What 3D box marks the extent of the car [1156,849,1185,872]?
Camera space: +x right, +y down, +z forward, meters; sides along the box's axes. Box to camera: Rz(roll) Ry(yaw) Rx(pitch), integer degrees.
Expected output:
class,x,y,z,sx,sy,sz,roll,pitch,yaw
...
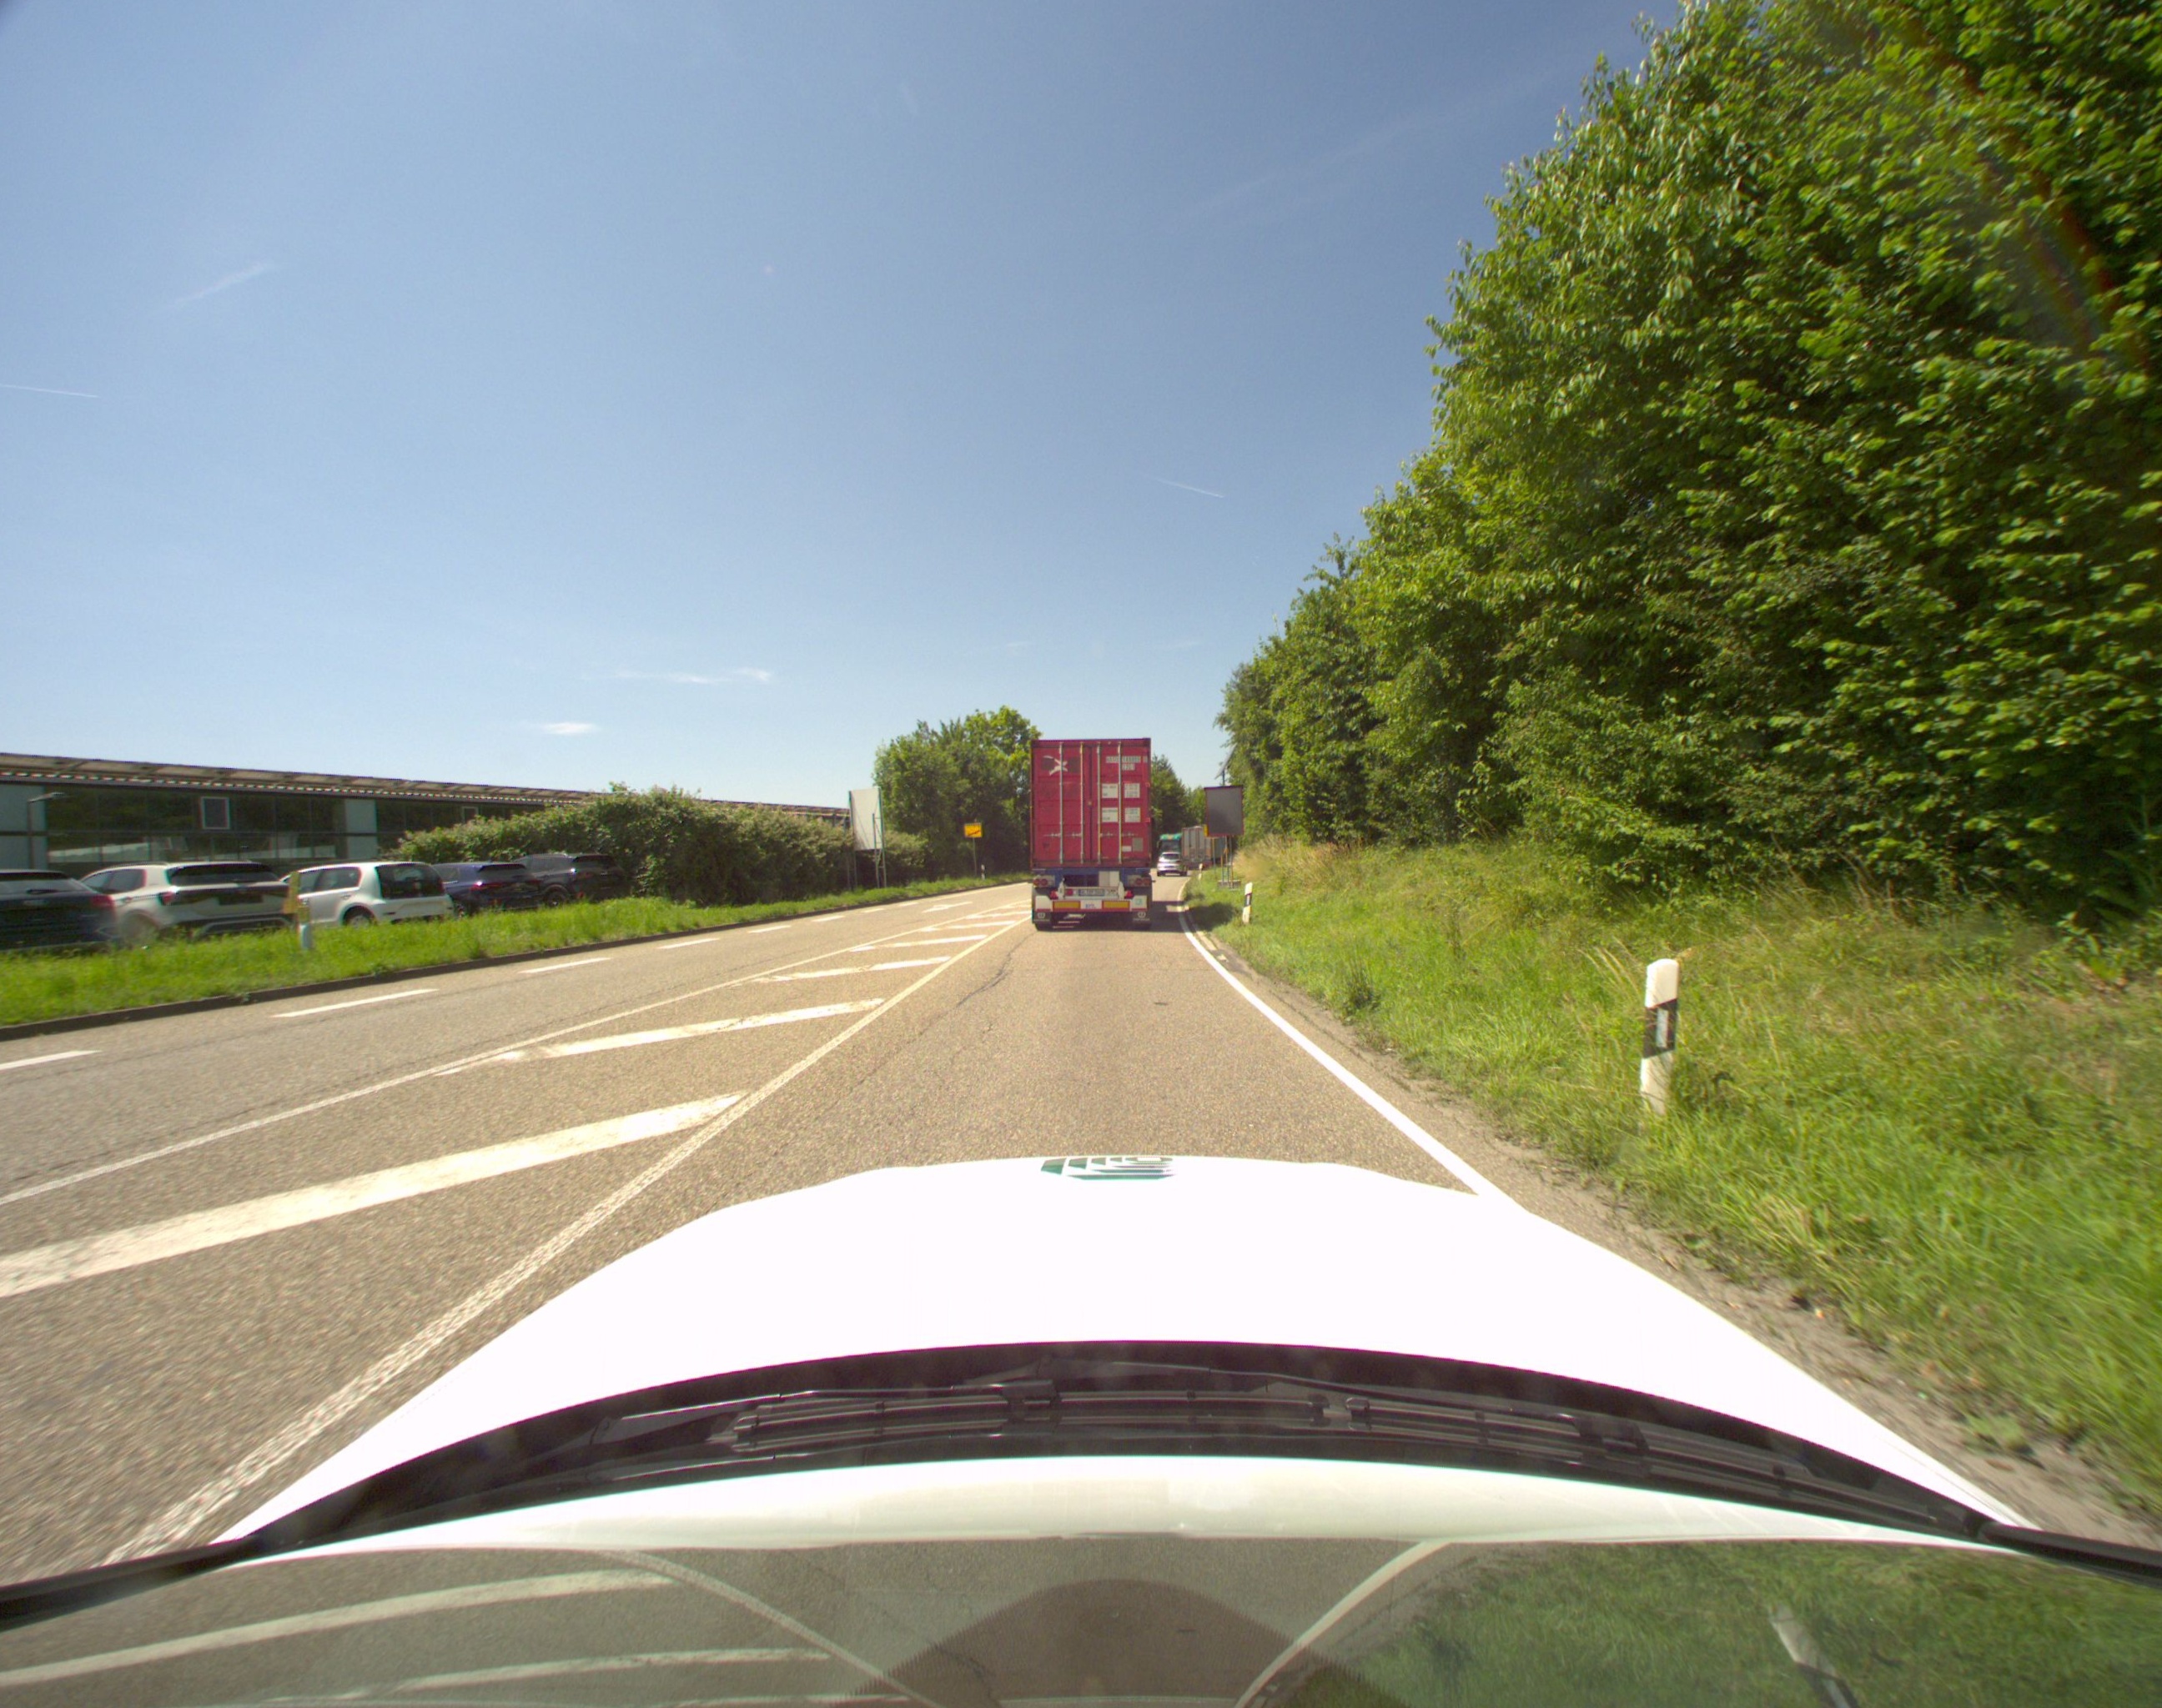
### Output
class,x,y,z,sx,sy,sz,roll,pitch,yaw
car,6.240,0.451,56.714,1.822,1.433,4.009,-4,0,8

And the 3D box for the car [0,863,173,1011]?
class,x,y,z,sx,sy,sz,roll,pitch,yaw
car,-14.887,1.122,10.839,3.959,1.750,2.007,-3,0,13

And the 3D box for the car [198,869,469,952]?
class,x,y,z,sx,sy,sz,roll,pitch,yaw
car,-14.560,1.071,15.954,3.961,1.317,1.839,-3,0,11

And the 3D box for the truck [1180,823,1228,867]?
class,x,y,z,sx,sy,sz,roll,pitch,yaw
truck,12.053,-0.951,78.571,2.900,3.716,13.414,-4,0,15

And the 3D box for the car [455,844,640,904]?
class,x,y,z,sx,sy,sz,roll,pitch,yaw
car,-13.328,0.473,20.415,3.670,1.373,1.810,1,0,14

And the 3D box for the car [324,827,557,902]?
class,x,y,z,sx,sy,sz,roll,pitch,yaw
car,-14.136,0.225,18.085,3.962,1.362,1.826,-3,0,10

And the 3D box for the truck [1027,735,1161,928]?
class,x,y,z,sx,sy,sz,roll,pitch,yaw
truck,0.709,-0.407,22.883,2.636,3.806,13.372,1,0,4

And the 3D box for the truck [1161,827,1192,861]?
class,x,y,z,sx,sy,sz,roll,pitch,yaw
truck,10.779,-1.098,91.321,2.561,3.680,7.904,0,0,13

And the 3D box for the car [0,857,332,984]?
class,x,y,z,sx,sy,sz,roll,pitch,yaw
car,-14.908,1.043,13.273,3.959,1.750,2.007,-3,0,13
